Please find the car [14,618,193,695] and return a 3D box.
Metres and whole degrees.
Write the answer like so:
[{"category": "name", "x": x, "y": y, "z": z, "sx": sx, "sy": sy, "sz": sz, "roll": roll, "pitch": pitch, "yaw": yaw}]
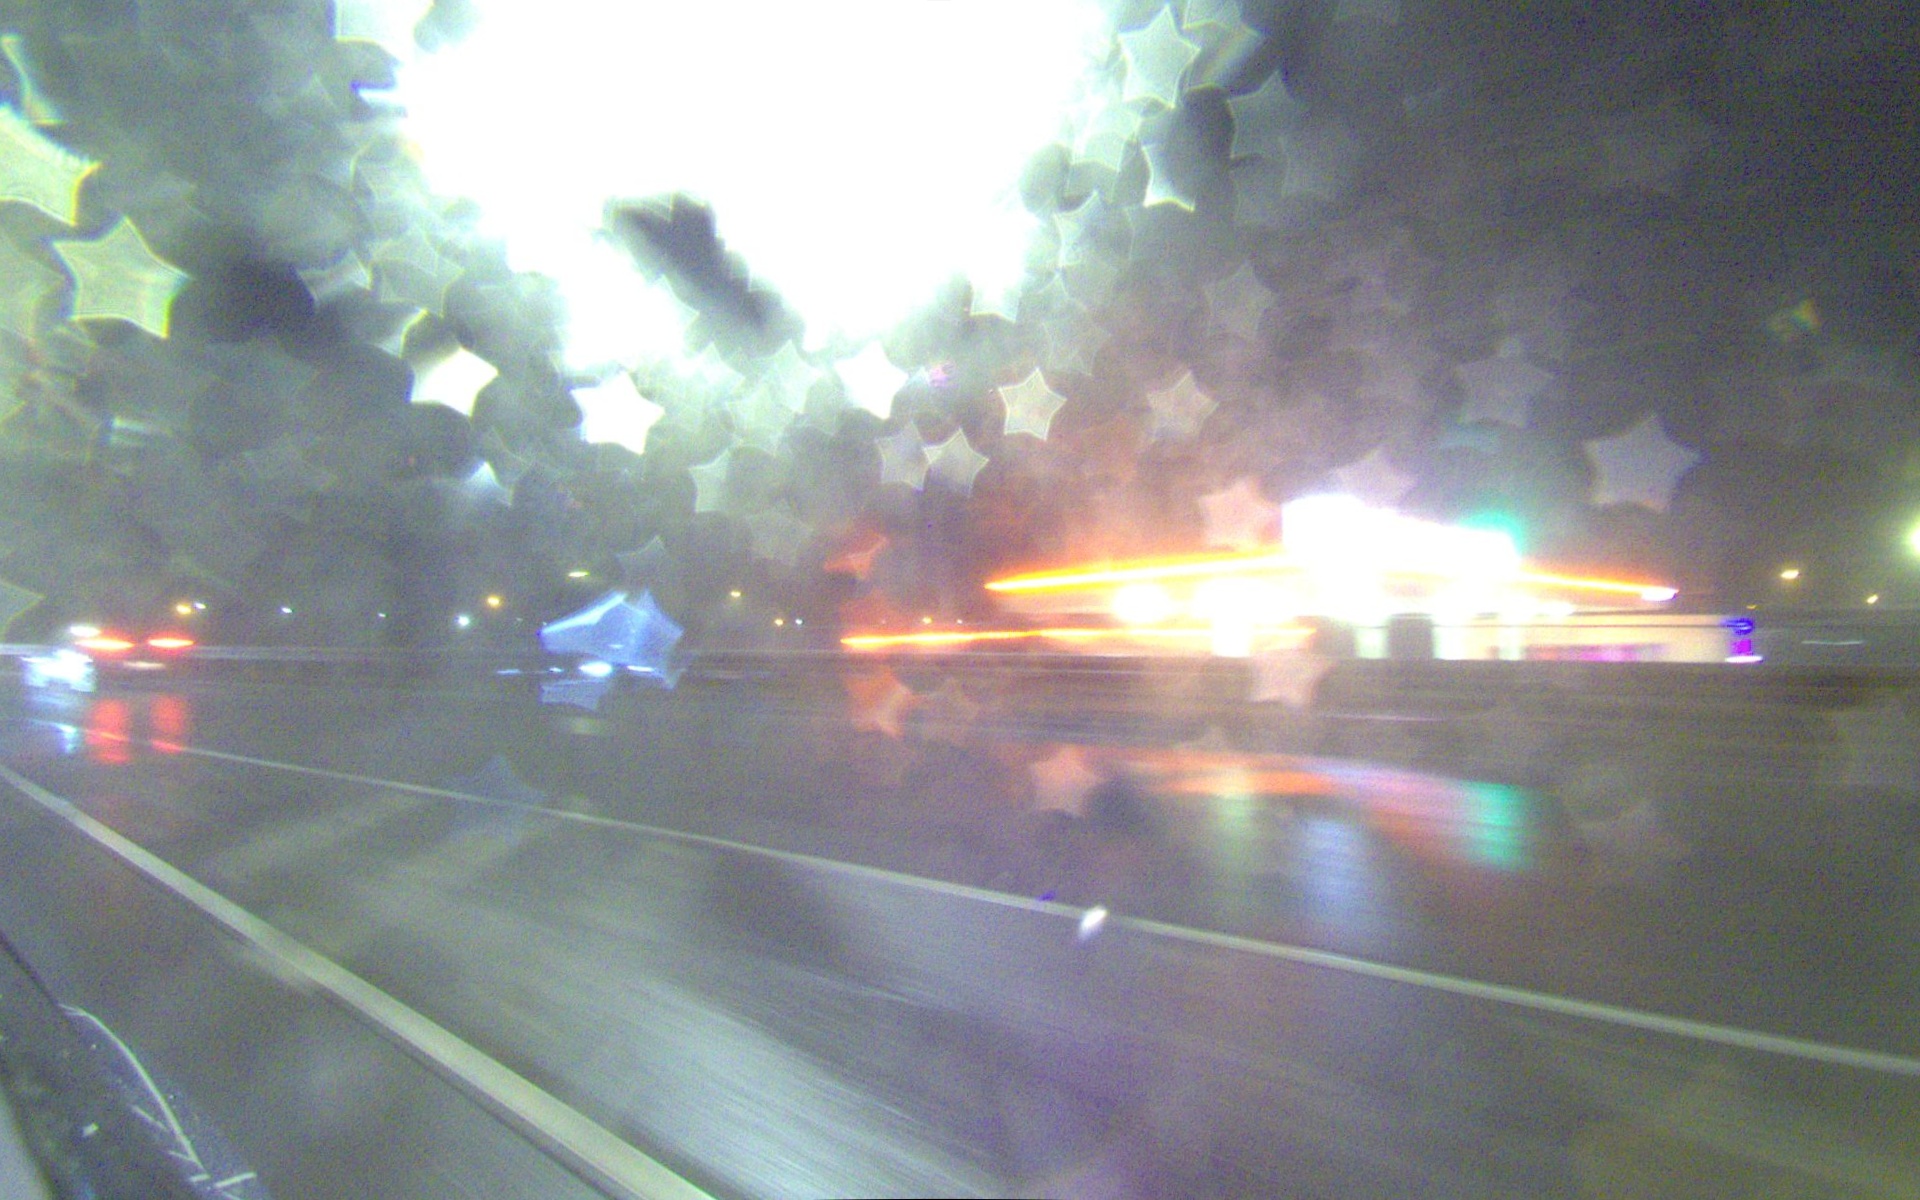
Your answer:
[{"category": "car", "x": -18.597, "y": 1.172, "z": 21.929, "sx": 4.175, "sy": 1.515, "sz": 1.811, "roll": -1, "pitch": -2, "yaw": 33}]
